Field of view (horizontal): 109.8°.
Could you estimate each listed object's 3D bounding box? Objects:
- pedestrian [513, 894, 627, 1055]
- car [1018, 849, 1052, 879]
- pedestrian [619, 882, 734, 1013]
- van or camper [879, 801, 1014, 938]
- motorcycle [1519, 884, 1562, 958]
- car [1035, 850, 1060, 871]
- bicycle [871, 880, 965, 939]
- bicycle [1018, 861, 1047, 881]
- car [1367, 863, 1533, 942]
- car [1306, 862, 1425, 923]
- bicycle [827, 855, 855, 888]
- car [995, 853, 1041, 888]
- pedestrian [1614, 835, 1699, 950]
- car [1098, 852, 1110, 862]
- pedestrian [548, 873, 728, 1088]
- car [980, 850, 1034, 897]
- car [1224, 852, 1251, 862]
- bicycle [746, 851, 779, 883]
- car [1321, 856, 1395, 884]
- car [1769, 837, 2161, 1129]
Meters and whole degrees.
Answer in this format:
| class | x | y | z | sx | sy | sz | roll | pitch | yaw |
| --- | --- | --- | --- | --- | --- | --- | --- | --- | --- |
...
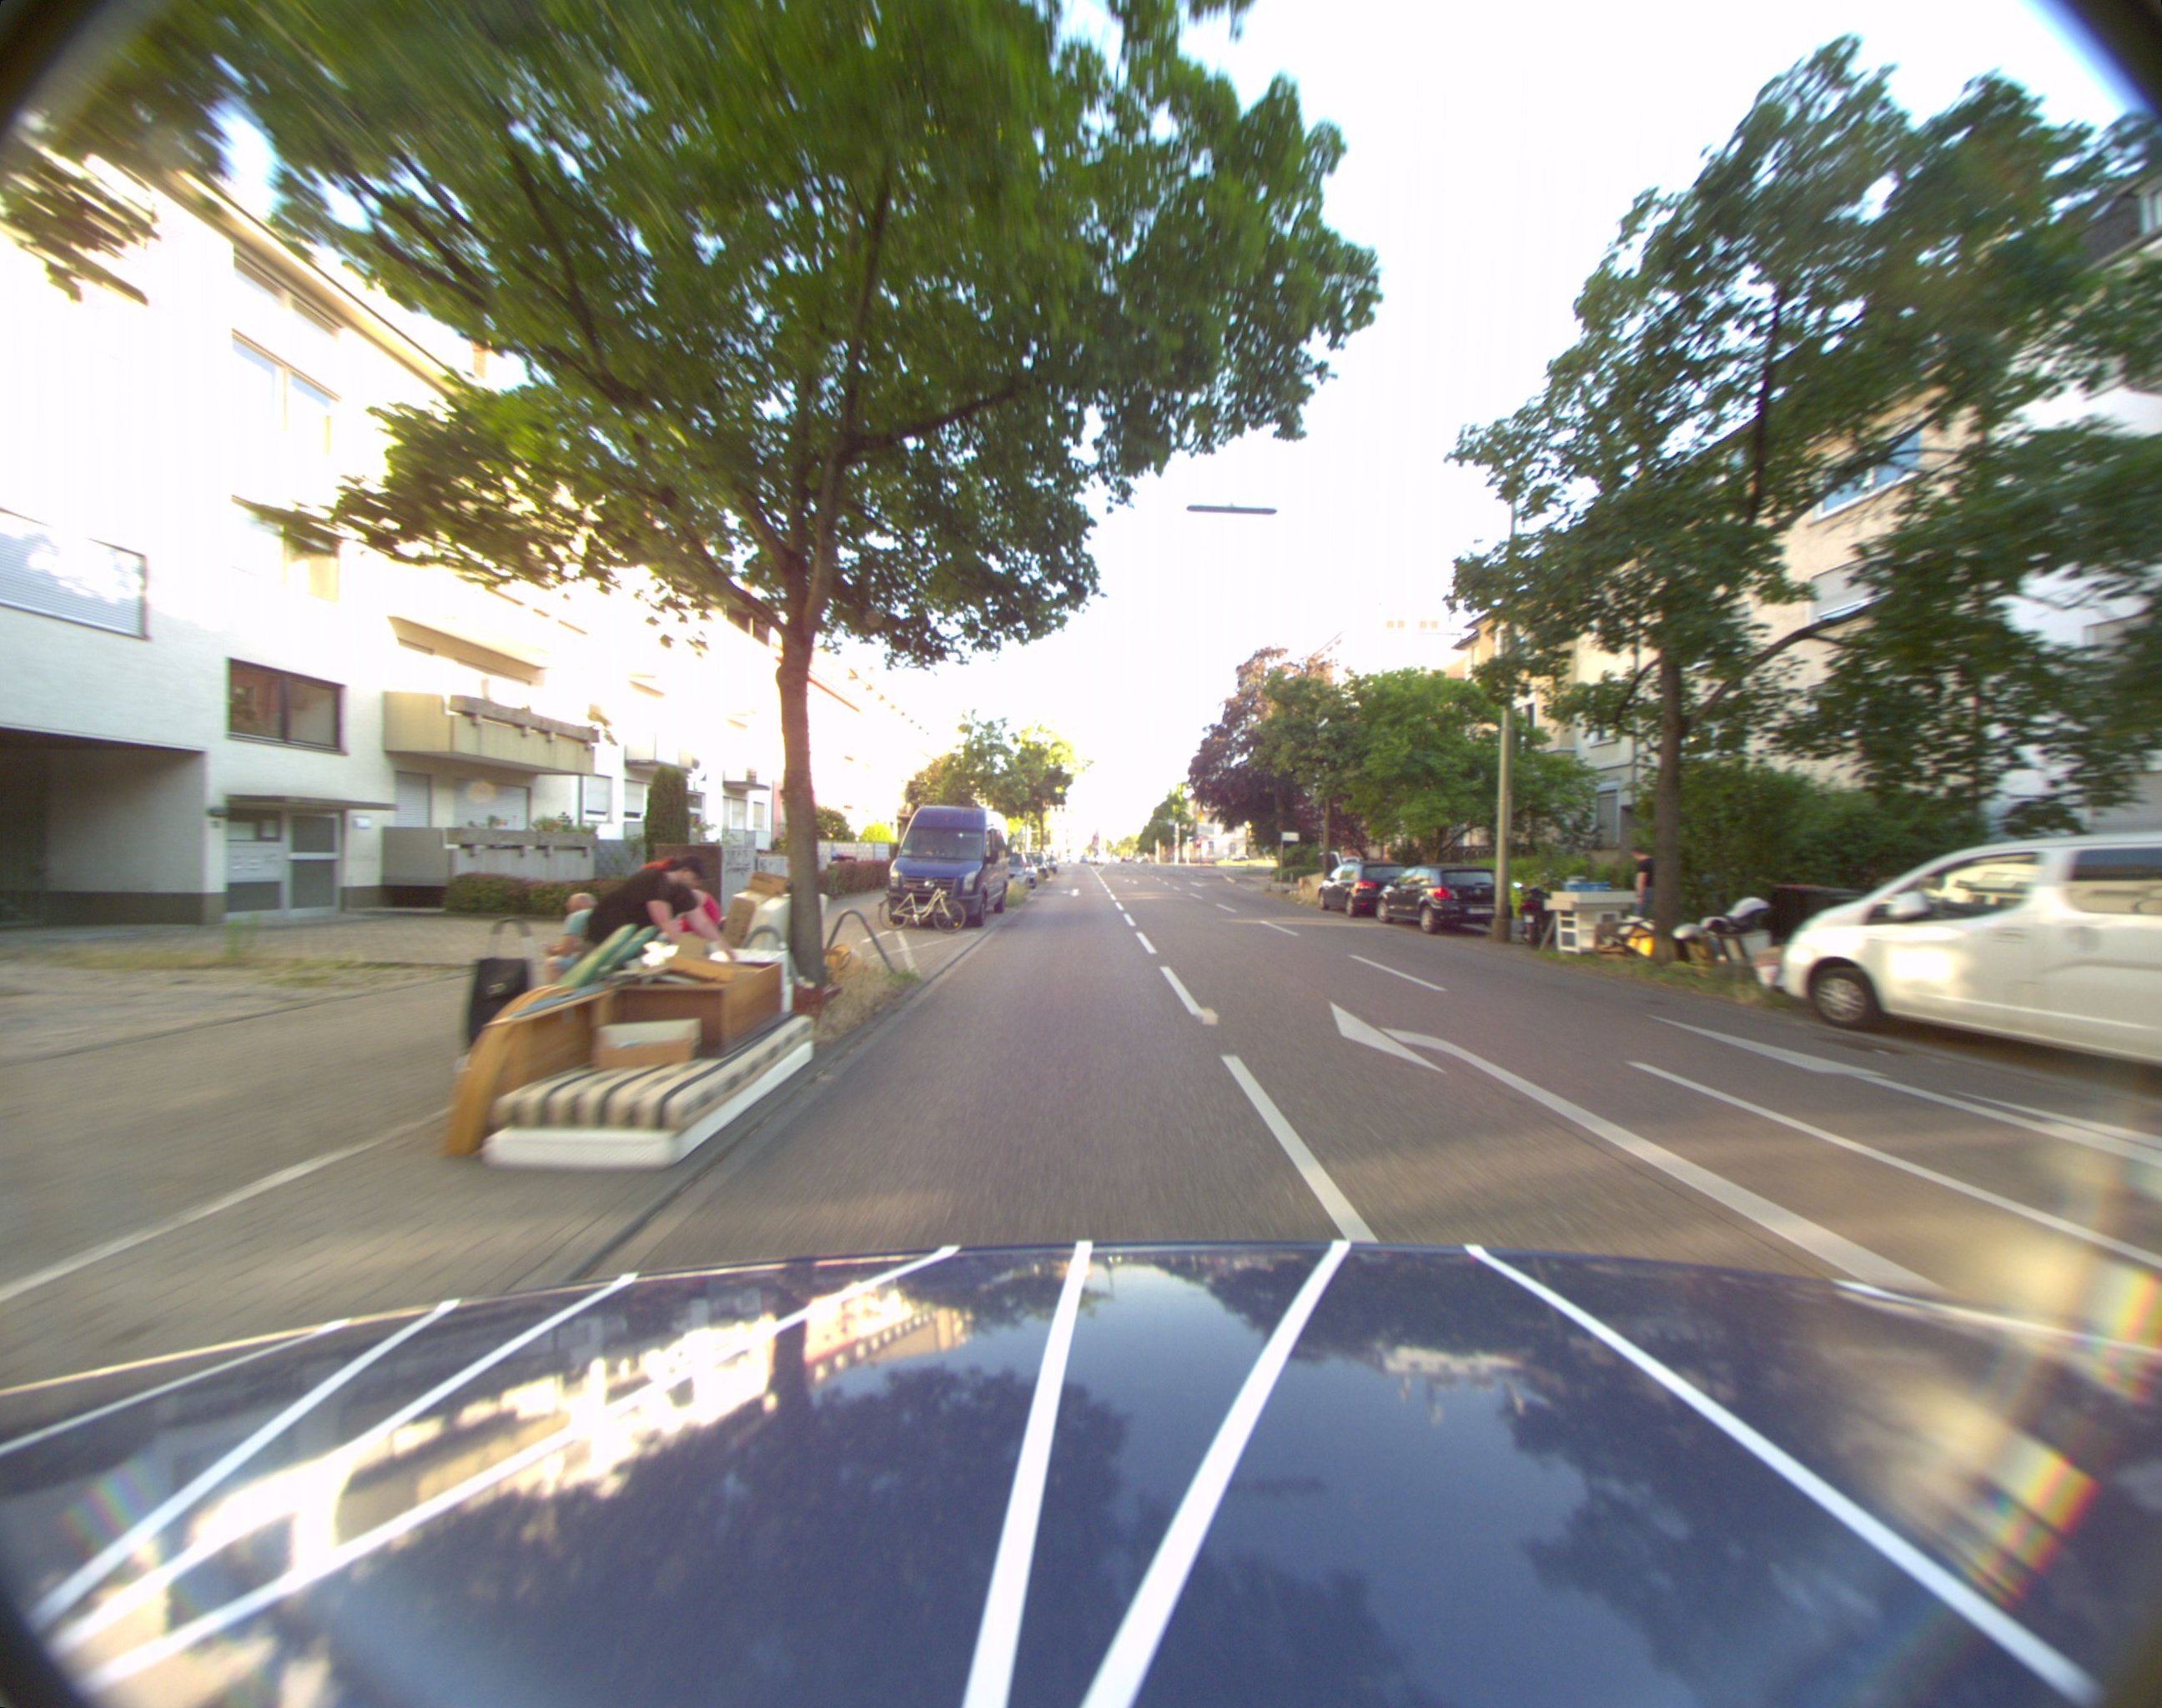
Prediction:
| class | x | y | z | sx | sy | sz | roll | pitch | yaw |
| --- | --- | --- | --- | --- | --- | --- | --- | --- | --- |
| pedestrian | -4.318 | 0.980 | 6.467 | 0.656 | 1.247 | 0.656 | 0 | 0 | -19 |
| car | -2.655 | 0.573 | 44.599 | 1.737 | 1.641 | 4.291 | 1 | 0 | 0 |
| pedestrian | -4.103 | 0.924 | 7.762 | 0.799 | 1.247 | 0.700 | 1 | 0 | -2 |
| van or camper | -2.895 | 0.263 | 17.868 | 2.073 | 2.660 | 5.988 | 1 | 1 | 0 |
| motorcycle | 8.130 | 1.140 | 13.426 | 0.440 | 1.185 | 1.711 | 1 | 0 | 38 |
| car | -2.524 | 0.523 | 58.404 | 1.737 | 1.542 | 3.646 | 1 | 0 | 0 |
| bicycle | -3.105 | 1.061 | 14.558 | 1.705 | 1.083 | 0.404 | 1 | 0 | 3 |
| bicycle | -2.583 | 0.886 | 40.649 | 1.482 | 1.053 | 0.411 | 1 | 0 | -13 |
| car | 8.009 | 0.987 | 16.931 | 1.754 | 1.494 | 3.978 | 1 | 0 | 0 |
| car | 7.782 | 0.995 | 21.213 | 1.754 | 1.494 | 4.196 | 1 | 0 | 0 |
| bicycle | -8.325 | 0.590 | 26.410 | 0.493 | 1.083 | 1.544 | 1 | 0 | 0 |
| car | -2.781 | 0.703 | 34.304 | 1.925 | 1.477 | 4.744 | 1 | 0 | -3 |
| pedestrian | 10.440 | 0.680 | 13.821 | 0.769 | 2.002 | 0.976 | 1 | 0 | 0 |
| car | 3.498 | 0.451 | 115.948 | 1.764 | 1.490 | 3.708 | 1 | 0 | 0 |
| pedestrian | -3.224 | 0.879 | 5.608 | 1.066 | 1.467 | 0.478 | 1 | 0 | -19 |
| car | -2.778 | 0.710 | 29.140 | 1.777 | 1.633 | 3.756 | 1 | 1 | -2 |
| car | 24.099 | 0.492 | 116.721 | 3.646 | 1.437 | 1.999 | 1 | 0 | -4 |
| bicycle | -10.980 | 0.440 | 26.238 | 0.493 | 1.083 | 1.544 | 1 | 0 | 0 |
| car | 15.772 | 0.899 | 43.408 | 3.507 | 1.477 | 1.815 | 1 | 0 | -4 |
| car | 7.970 | 0.853 | 5.588 | 1.774 | 1.908 | 4.459 | 1 | 0 | 0 |
